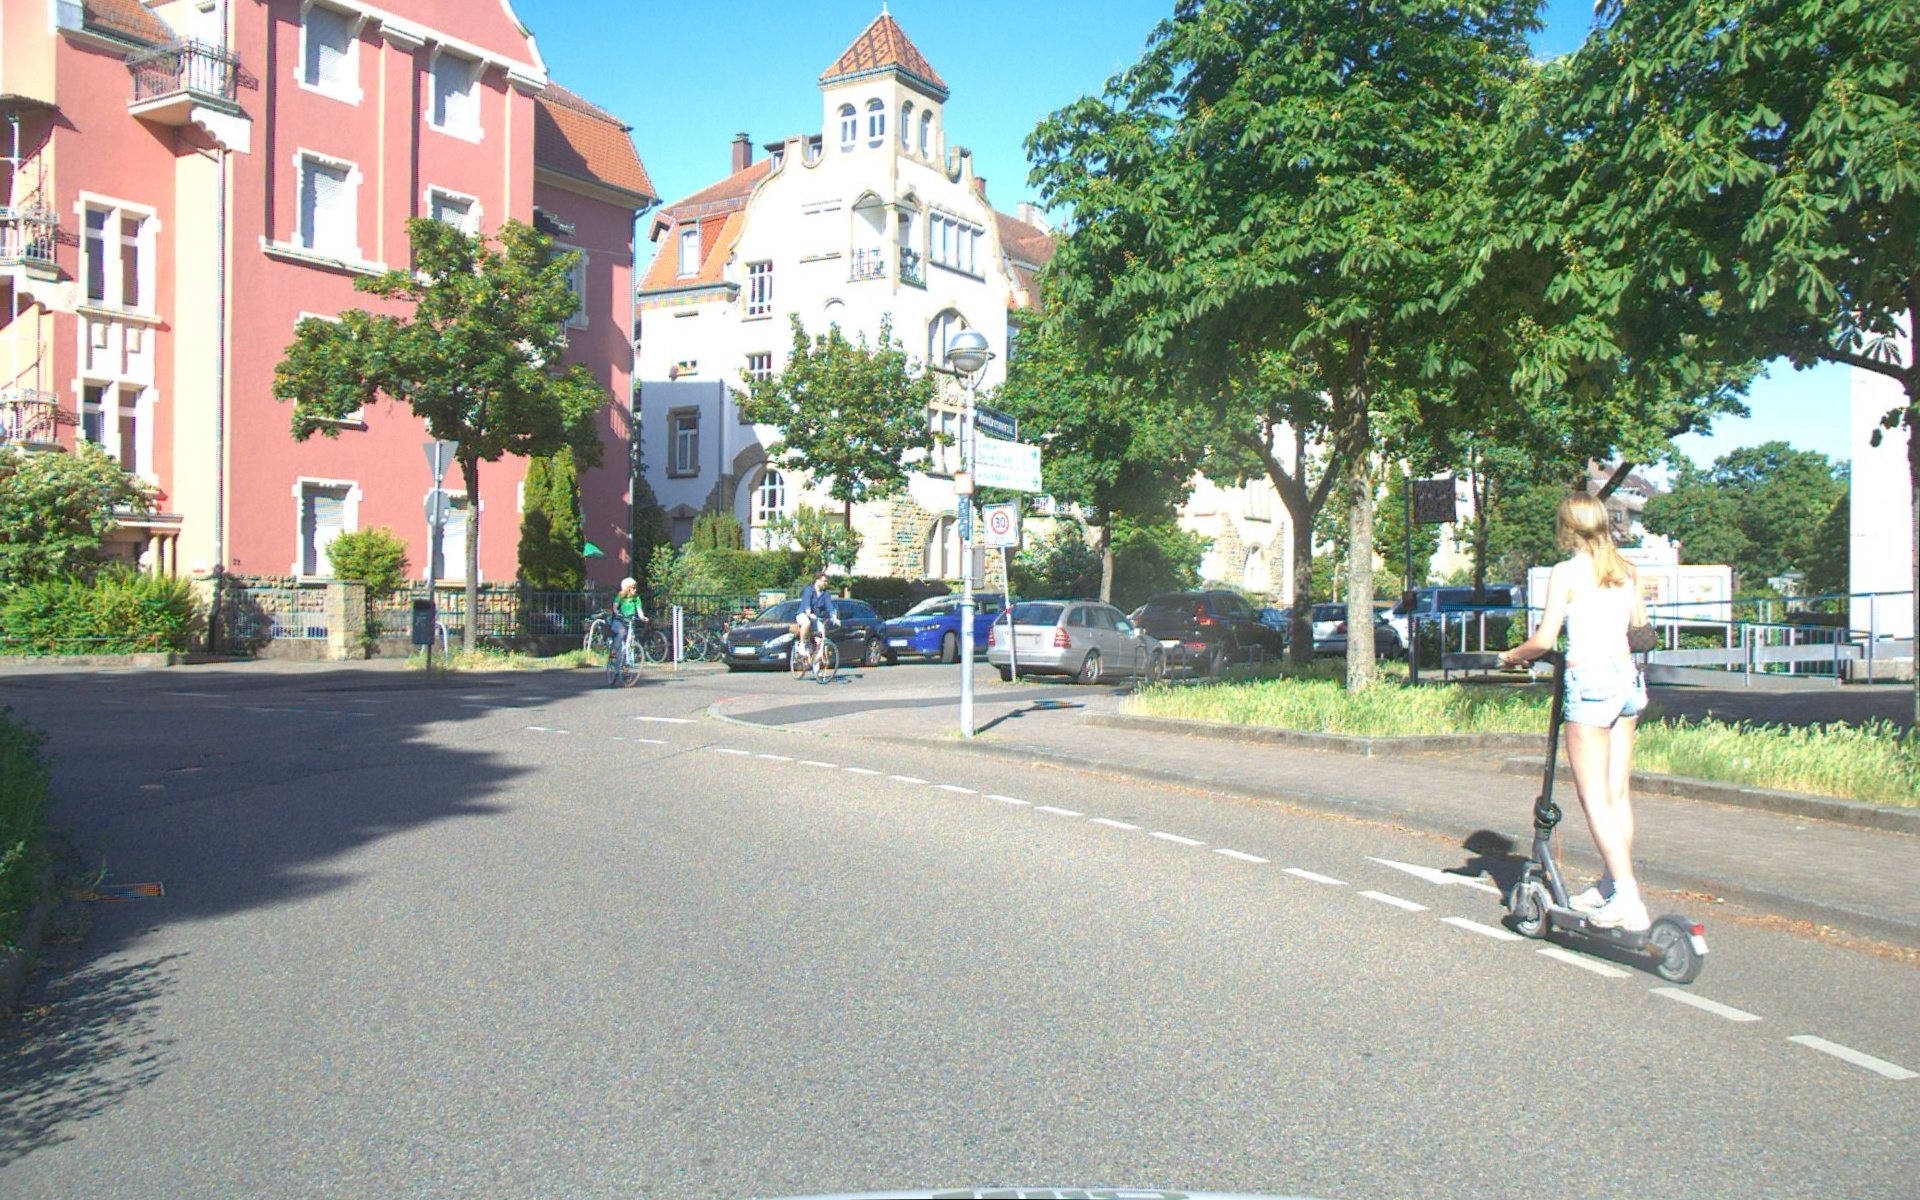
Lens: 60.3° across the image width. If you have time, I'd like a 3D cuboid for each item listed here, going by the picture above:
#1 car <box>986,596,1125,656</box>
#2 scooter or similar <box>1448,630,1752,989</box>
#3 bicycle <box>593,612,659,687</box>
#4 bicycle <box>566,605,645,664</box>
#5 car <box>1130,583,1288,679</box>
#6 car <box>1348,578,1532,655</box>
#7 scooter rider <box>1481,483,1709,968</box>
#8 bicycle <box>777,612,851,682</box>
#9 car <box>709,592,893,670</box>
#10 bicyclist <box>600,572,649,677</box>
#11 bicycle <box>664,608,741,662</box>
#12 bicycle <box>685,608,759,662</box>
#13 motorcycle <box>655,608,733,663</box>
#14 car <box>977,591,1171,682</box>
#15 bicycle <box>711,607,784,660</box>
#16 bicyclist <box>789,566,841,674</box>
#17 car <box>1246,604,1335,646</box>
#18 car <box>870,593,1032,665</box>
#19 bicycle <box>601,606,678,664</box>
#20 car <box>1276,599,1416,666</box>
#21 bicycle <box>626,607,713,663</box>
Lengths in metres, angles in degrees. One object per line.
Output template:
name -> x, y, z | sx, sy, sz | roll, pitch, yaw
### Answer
car -> 2.606, 0.681, 43.986 | 1.771, 1.476, 4.388 | -3, -1, 32
scooter or similar -> 2.570, 0.787, 6.747 | 0.620, 1.305, 1.101 | 0, 0, -16
bicycle -> -5.259, 0.761, 25.960 | 0.586, 1.127, 1.848 | 0, -1, -26
bicycle -> -7.349, 0.712, 34.231 | 1.691, 1.134, 0.544 | 2, 1, 34
car -> 5.030, 0.577, 32.953 | 1.769, 1.758, 4.332 | 1, 0, 28
car -> 13.499, 0.429, 46.563 | 4.673, 2.036, 1.807 | 1, 0, 29
scooter rider -> 2.576, 0.481, 6.748 | 0.613, 1.864, 0.629 | 0, 0, -17
bicycle -> -2.433, 0.760, 27.388 | 0.636, 1.127, 1.701 | 1, -1, -27
car -> -3.259, 0.628, 34.798 | 1.769, 1.509, 4.333 | -3, -1, 27
bicyclist -> -5.276, 0.379, 25.985 | 0.586, 1.609, 0.798 | 0, -1, -26
bicycle -> -5.736, 0.774, 36.788 | 1.688, 1.126, 0.500 | 2, 1, 26
bicycle -> -5.379, 0.777, 37.384 | 1.689, 1.126, 0.500 | 2, 1, 30
motorcycle -> -5.837, 0.773, 36.219 | 1.688, 1.126, 0.500 | 2, 1, 26
car -> 2.075, 0.599, 28.898 | 1.769, 1.440, 4.332 | 1, 0, 28
bicycle -> -4.902, 0.766, 38.137 | 1.689, 1.126, 0.515 | 2, 1, 30
bicyclist -> -2.403, 0.329, 27.347 | 0.636, 1.744, 0.716 | 1, -1, -28
car -> 12.304, 0.914, 61.459 | 1.771, 1.421, 4.388 | -3, -1, 32
car -> -0.146, 0.663, 39.533 | 1.771, 1.589, 4.388 | -3, -1, 32
bicycle -> -6.795, 0.735, 35.044 | 1.691, 1.134, 0.544 | 2, 1, 34
car -> 9.331, 0.753, 39.757 | 1.773, 1.499, 4.322 | 1, 0, 36
bicycle -> -6.276, 0.739, 35.693 | 1.786, 1.126, 0.501 | 2, 1, 17
